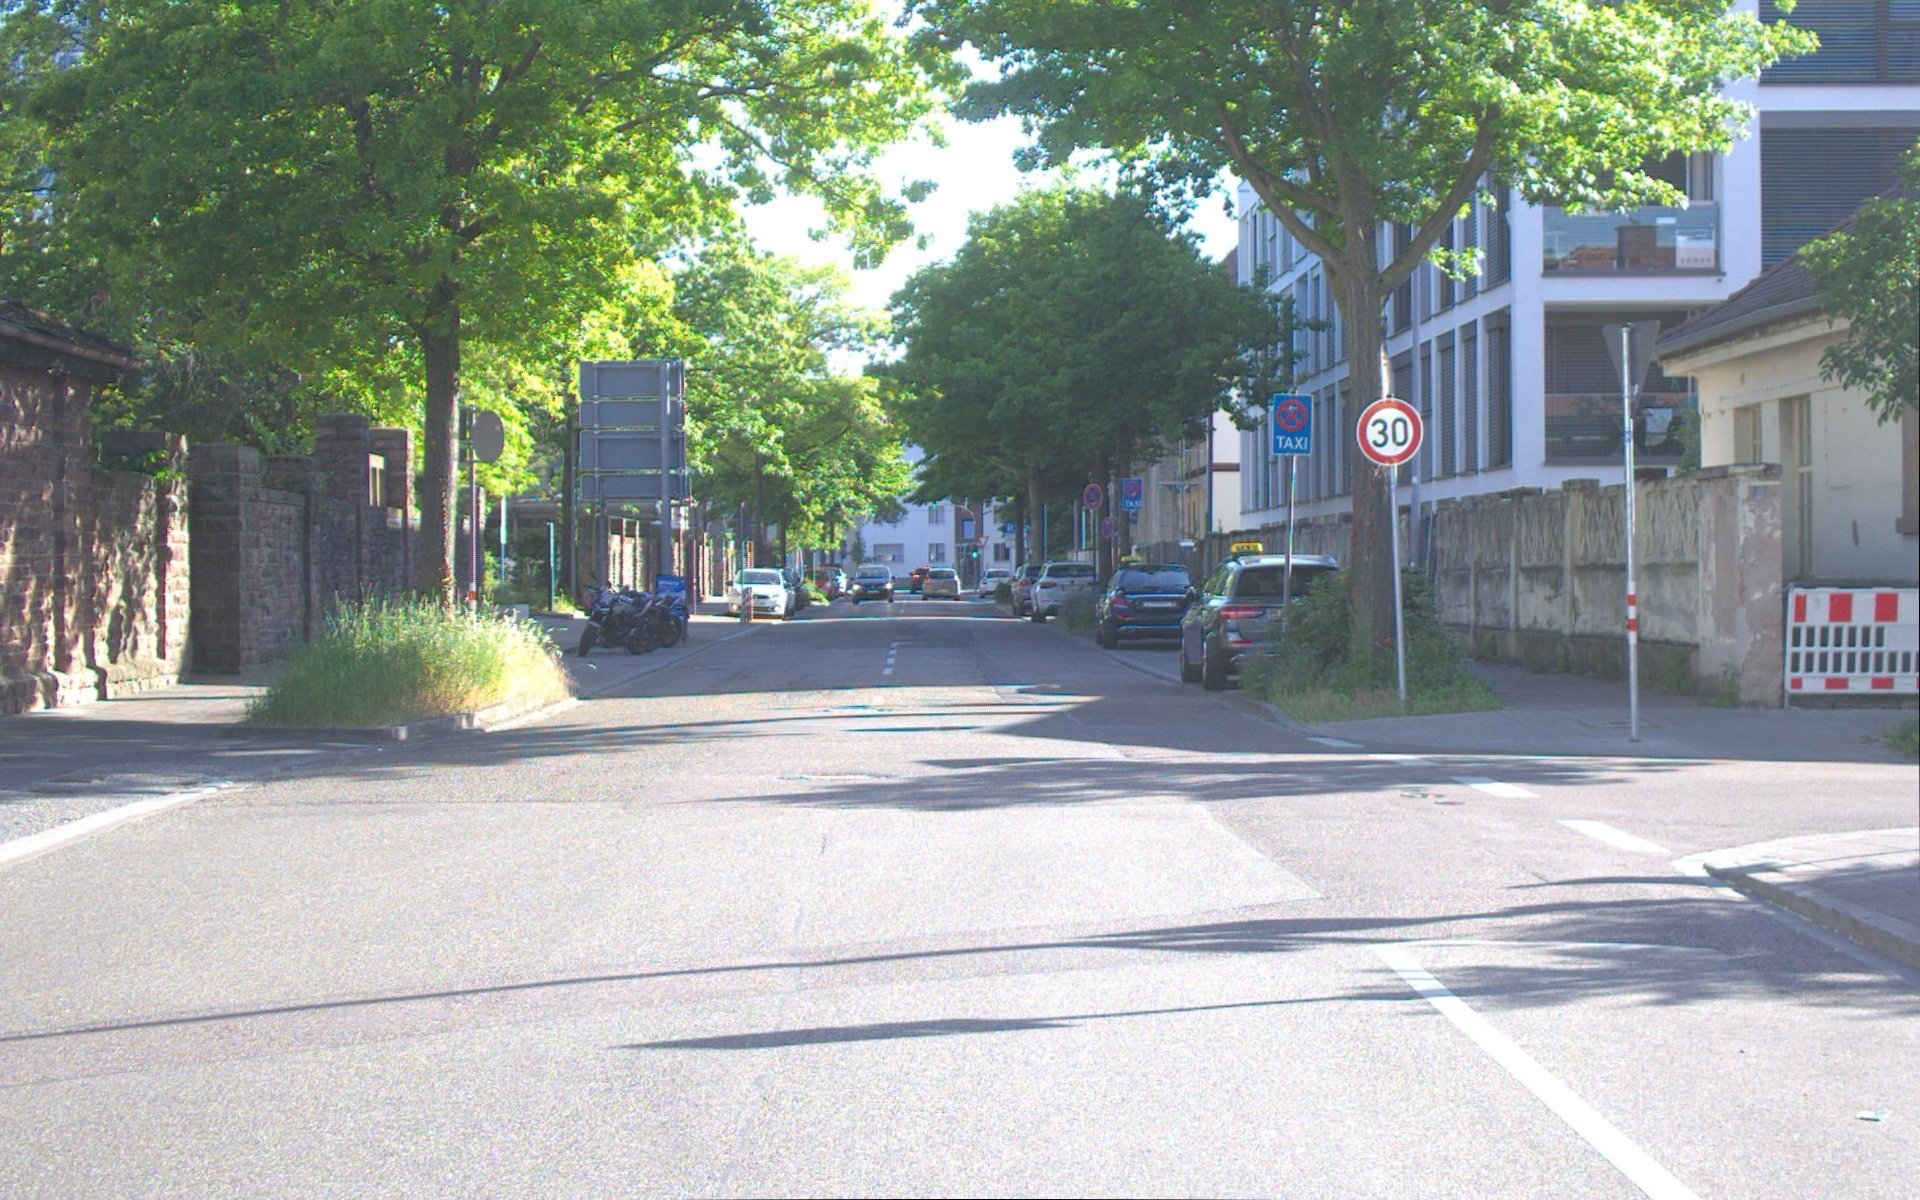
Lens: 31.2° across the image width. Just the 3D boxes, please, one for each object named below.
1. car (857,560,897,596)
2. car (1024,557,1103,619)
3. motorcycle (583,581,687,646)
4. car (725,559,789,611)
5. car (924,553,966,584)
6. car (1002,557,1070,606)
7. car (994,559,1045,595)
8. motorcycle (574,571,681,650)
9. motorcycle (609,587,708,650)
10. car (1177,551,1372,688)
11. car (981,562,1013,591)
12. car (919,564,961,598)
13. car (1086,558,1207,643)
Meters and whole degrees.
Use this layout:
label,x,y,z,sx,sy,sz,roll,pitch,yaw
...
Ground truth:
label,x,y,z,sx,sy,sz,roll,pitch,yaw
car,-3.568,-0.967,148.519,1.653,1.525,4.000,0,1,-1
car,2.656,-0.326,89.161,1.950,1.573,3.836,0,1,0
motorcycle,-5.532,0.223,58.648,0.577,1.071,2.118,0,1,33
car,-5.962,-0.452,101.421,1.767,1.482,4.000,0,1,-2
car,-0.669,-1.428,157.082,1.889,1.395,3.836,0,1,0
car,2.291,-0.567,104.662,1.993,1.460,3.836,0,1,0
car,2.359,-0.919,136.872,1.993,1.420,3.836,0,1,0
motorcycle,-5.508,0.163,57.104,0.577,1.271,2.118,0,1,33
motorcycle,-5.360,0.317,61.302,0.577,1.071,2.118,0,1,33
car,3.500,0.182,39.038,1.703,1.463,4.789,0,1,-1
car,1.826,-1.171,170.446,1.585,1.395,3.836,0,1,0
car,-0.928,-0.880,157.144,1.767,1.543,4.066,0,1,-2
car,3.245,-0.007,60.446,1.767,1.435,4.000,0,1,-2
